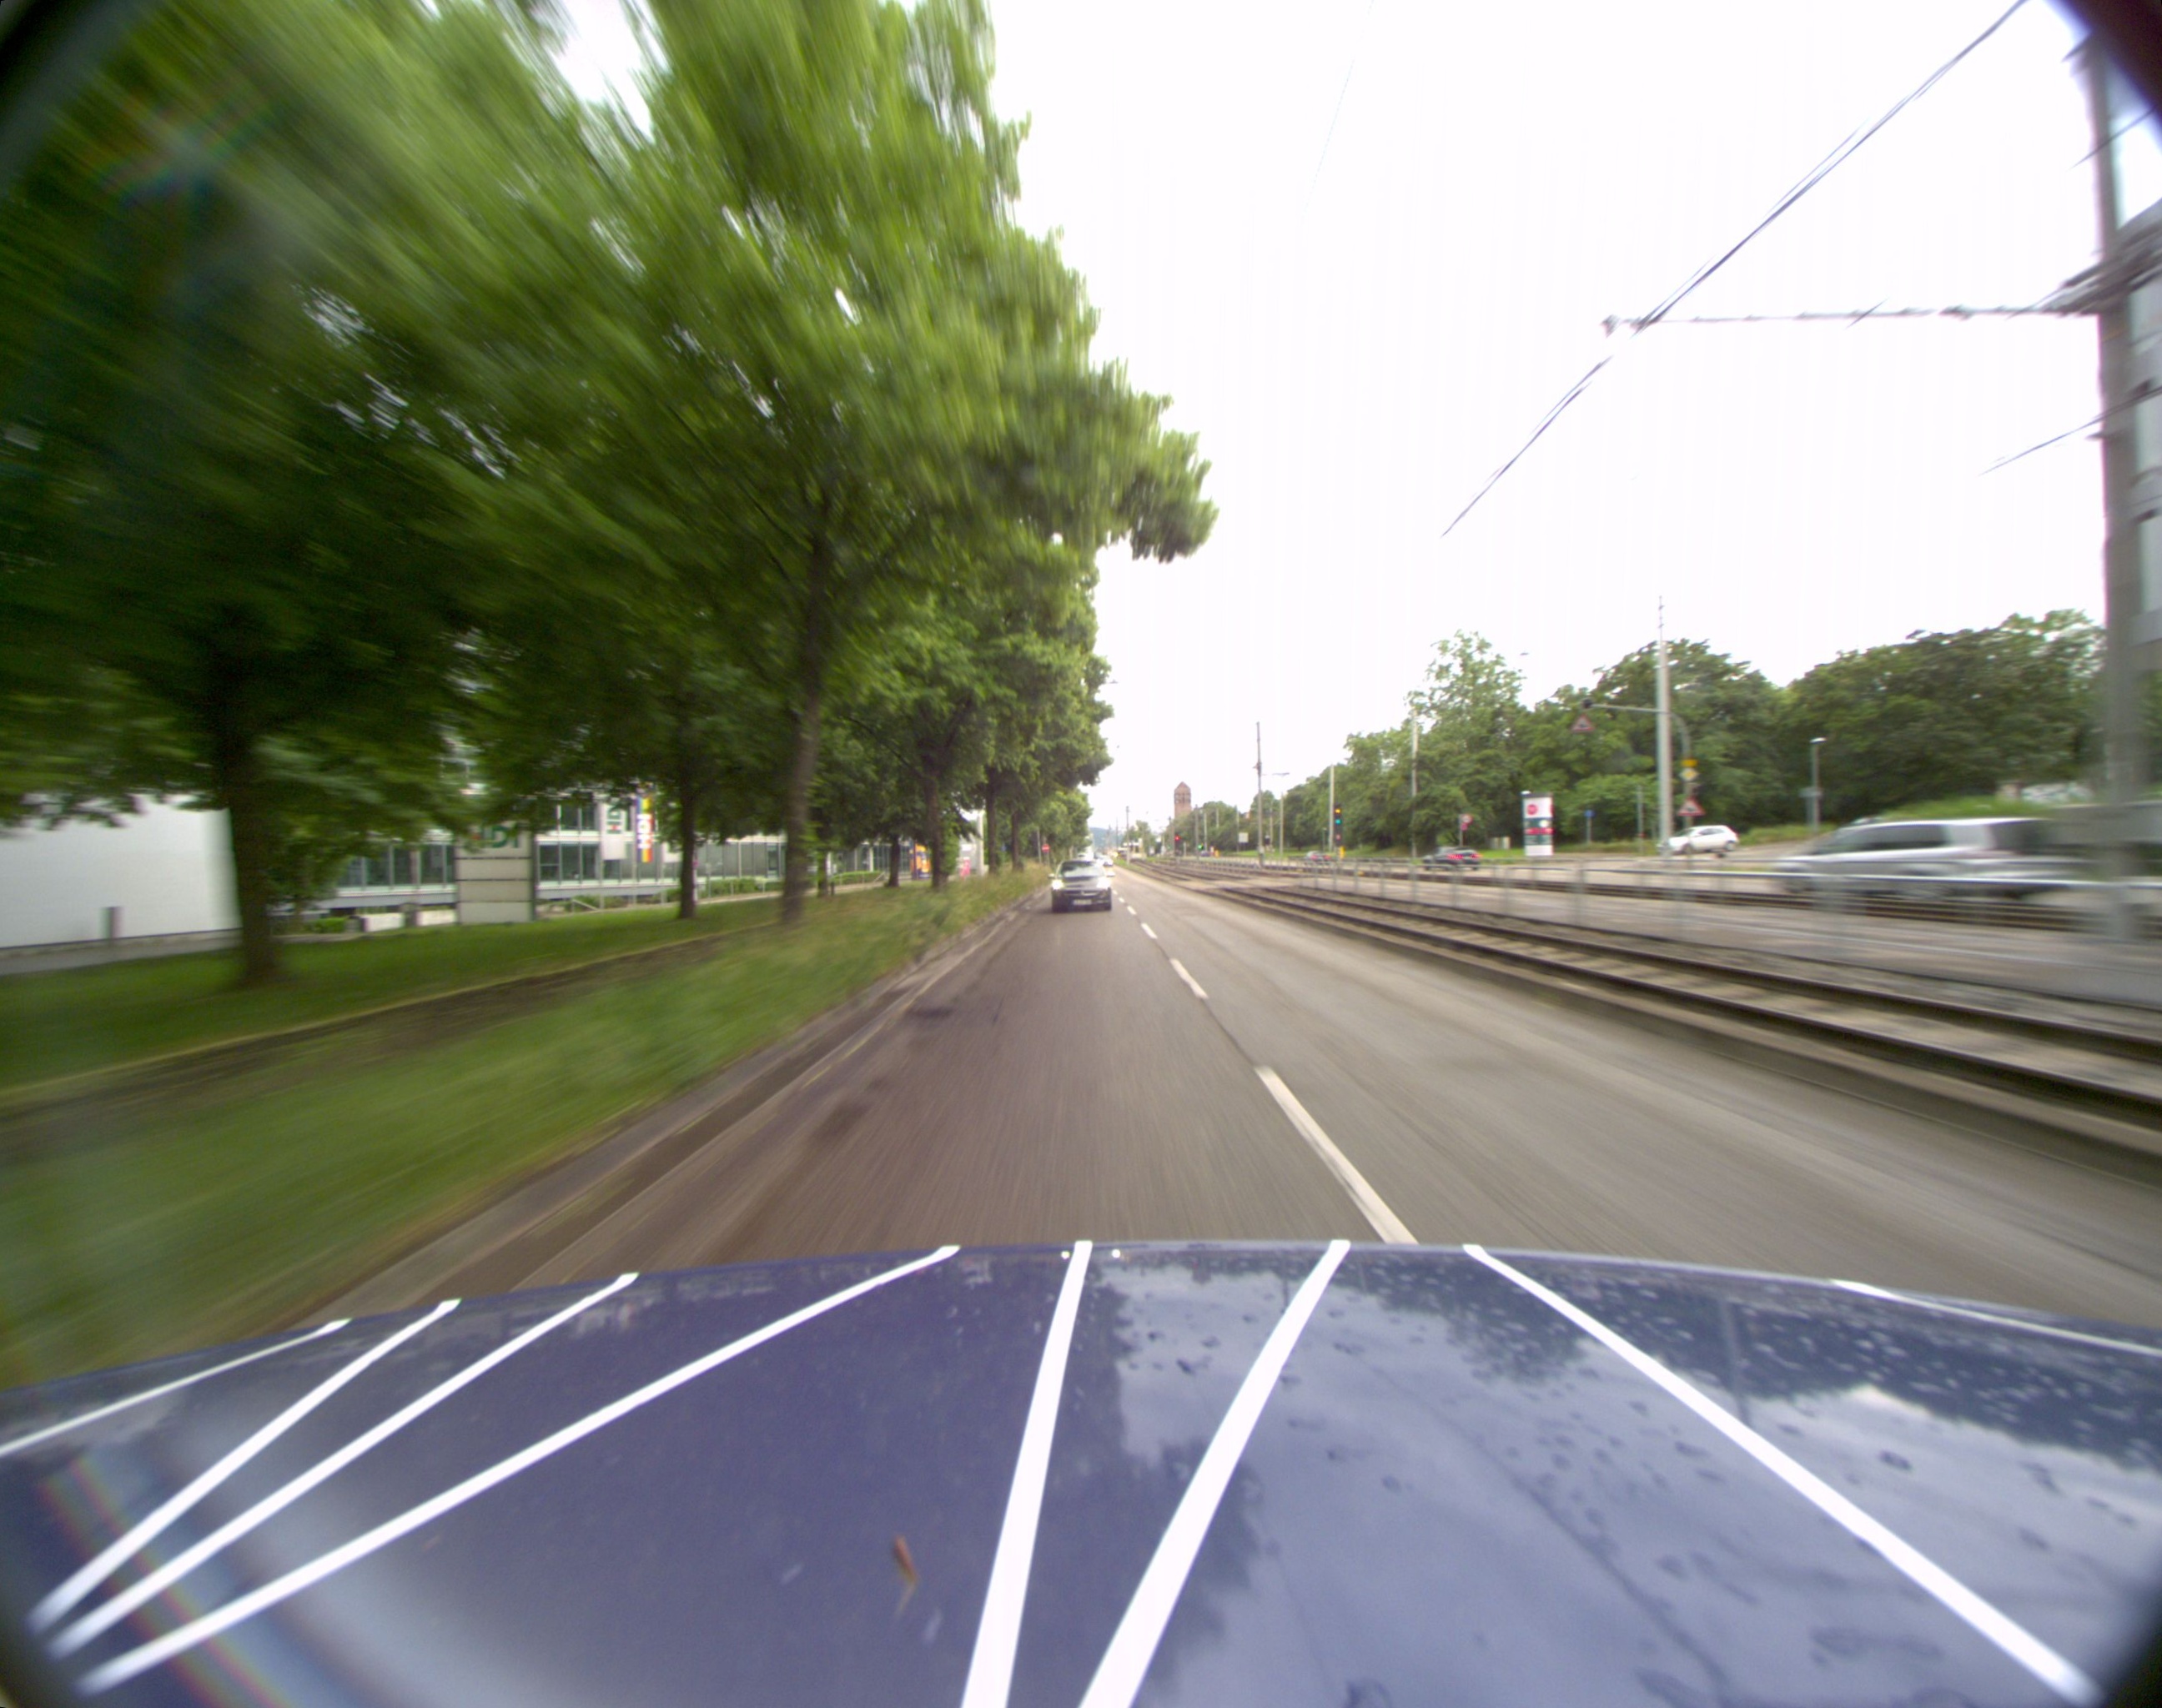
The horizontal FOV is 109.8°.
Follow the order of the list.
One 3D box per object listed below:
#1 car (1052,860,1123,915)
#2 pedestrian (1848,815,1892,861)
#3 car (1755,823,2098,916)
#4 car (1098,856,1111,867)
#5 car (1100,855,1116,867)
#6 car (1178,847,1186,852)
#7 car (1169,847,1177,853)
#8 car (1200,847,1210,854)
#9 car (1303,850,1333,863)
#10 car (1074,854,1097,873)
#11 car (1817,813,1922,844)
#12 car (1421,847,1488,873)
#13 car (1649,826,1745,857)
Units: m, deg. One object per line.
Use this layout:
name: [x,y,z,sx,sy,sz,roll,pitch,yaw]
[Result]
car: [0.213,0.935,23.054,1.899,1.432,4.474,-2,-1,1]
pedestrian: [28.947,-0.581,27.882,0.725,1.638,0.845,-3,1,1]
car: [17.313,0.272,16.057,1.907,1.635,4.884,-1,0,2]
car: [3.559,1.087,116.946,1.812,1.566,3.971,-3,1,1]
car: [3.535,0.880,99.212,1.899,1.432,4.246,-2,-1,1]
car: [28.666,-1.253,215.398,1.952,1.586,4.848,-1,0,3]
car: [25.091,-1.071,207.621,1.895,1.477,4.309,-1,0,3]
car: [27.419,-0.772,168.526,1.765,1.389,3.901,-1,0,3]
car: [23.123,0.218,74.209,1.761,1.237,3.988,-1,0,1]
car: [0.394,0.827,69.346,1.998,1.608,4.000,-2,0,1]
car: [45.416,-1.459,43.811,4.085,1.444,1.872,-4,0,-1]
car: [21.279,0.320,43.505,1.802,1.339,4.259,-1,0,1]
car: [35.555,-0.719,43.901,3.929,1.444,1.925,-4,0,-1]
